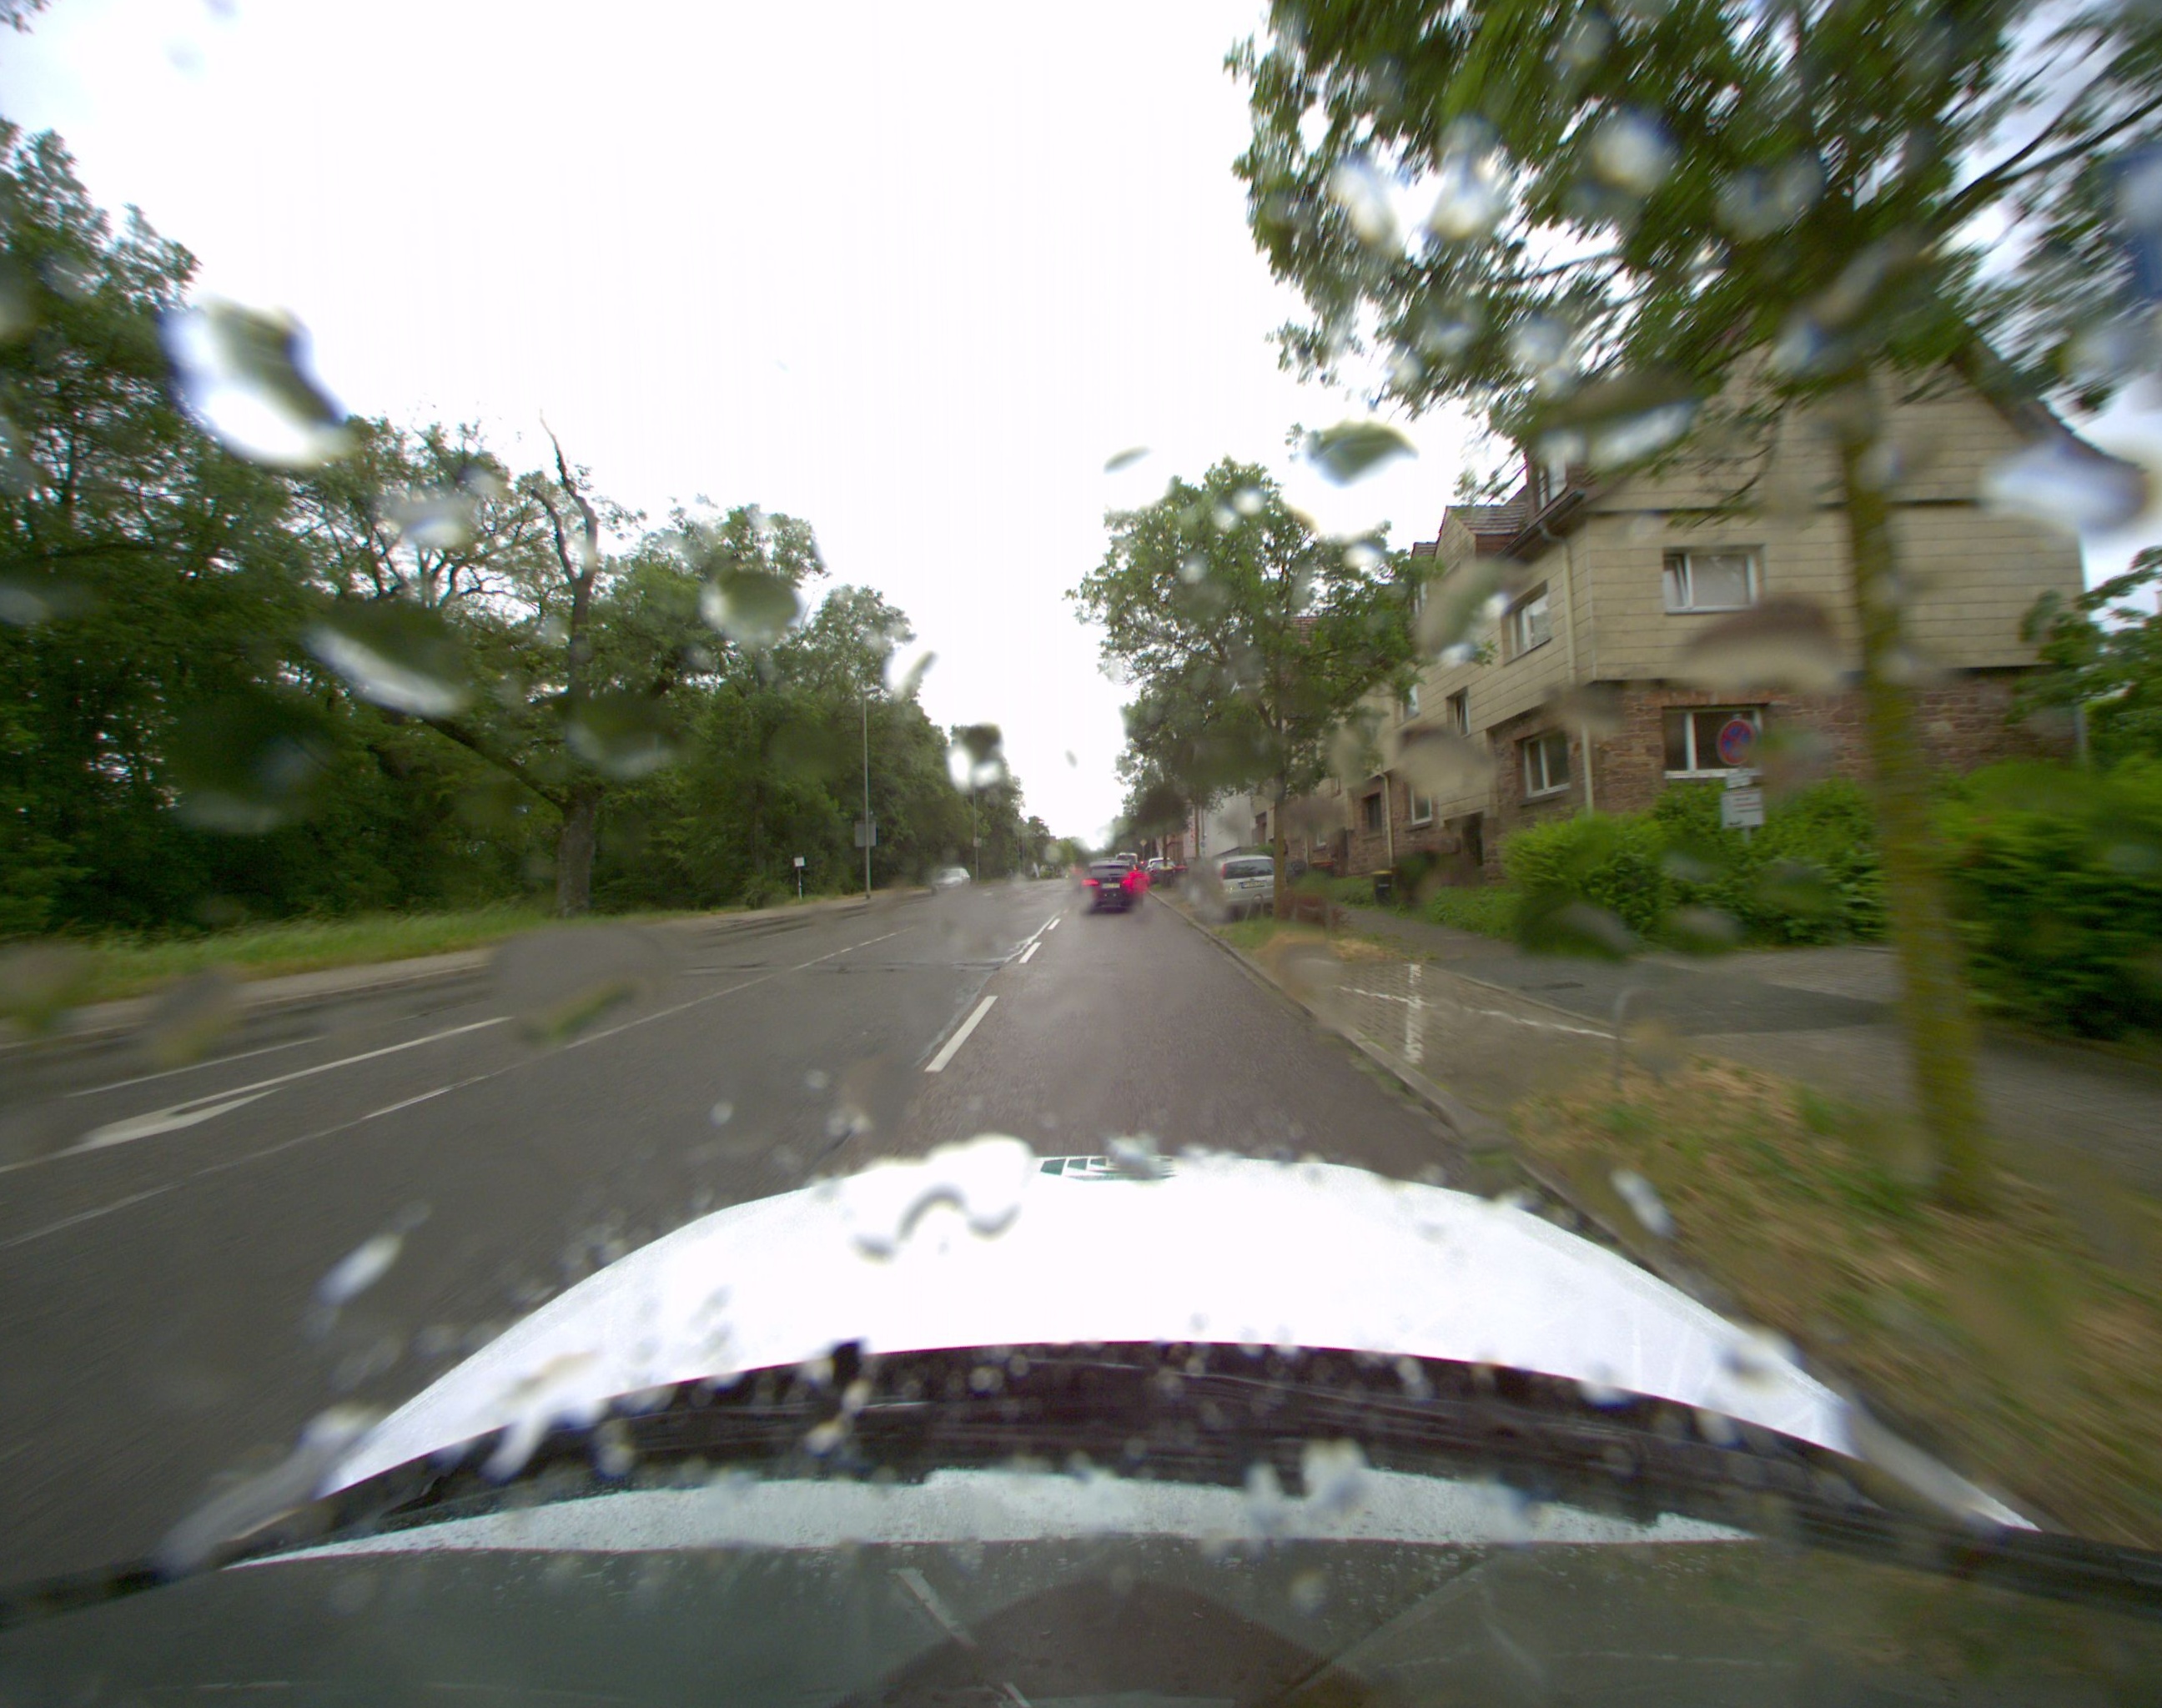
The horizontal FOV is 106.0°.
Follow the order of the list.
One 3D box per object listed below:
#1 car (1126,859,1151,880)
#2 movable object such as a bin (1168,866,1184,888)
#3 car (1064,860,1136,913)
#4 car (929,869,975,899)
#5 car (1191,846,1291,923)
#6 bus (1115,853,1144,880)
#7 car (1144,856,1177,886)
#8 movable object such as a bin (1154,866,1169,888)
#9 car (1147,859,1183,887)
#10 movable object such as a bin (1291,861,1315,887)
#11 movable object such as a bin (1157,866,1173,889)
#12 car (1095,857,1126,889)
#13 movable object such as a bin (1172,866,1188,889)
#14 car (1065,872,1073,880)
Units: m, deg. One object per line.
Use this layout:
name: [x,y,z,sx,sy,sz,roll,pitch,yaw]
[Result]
car: [5.884,1.618,83.012,1.915,1.892,4.774,-5,-2,10]
movable object such as a bin: [4.833,1.157,41.442,0.617,1.050,0.822,-4,-1,-1]
car: [0.595,0.925,24.837,1.986,1.453,4.001,1,-1,2]
car: [-7.307,1.666,46.485,1.683,1.483,4.453,-4,-1,1]
car: [3.903,0.681,20.625,1.695,1.584,4.646,-5,0,3]
bus: [5.649,1.383,94.487,2.609,2.847,8.305,-3,-1,7]
car: [5.023,1.059,51.798,1.817,1.772,4.544,-3,-1,3]
movable object such as a bin: [4.096,1.163,41.450,0.617,1.050,0.822,-4,-1,-1]
car: [4.742,1.090,46.308,1.636,1.449,3.998,-2,-1,0]
movable object such as a bin: [8.578,0.756,31.506,0.697,0.965,0.942,0,0,2]
movable object such as a bin: [4.192,1.163,40.549,0.617,1.050,0.822,-4,-1,-1]
car: [1.985,1.282,54.441,1.986,2.014,4.002,-1,-1,2]
movable object such as a bin: [4.920,1.157,40.517,0.617,1.050,0.822,-4,-1,-1]
car: [-2.800,5.188,192.718,1.763,1.533,4.001,-3,-1,2]
